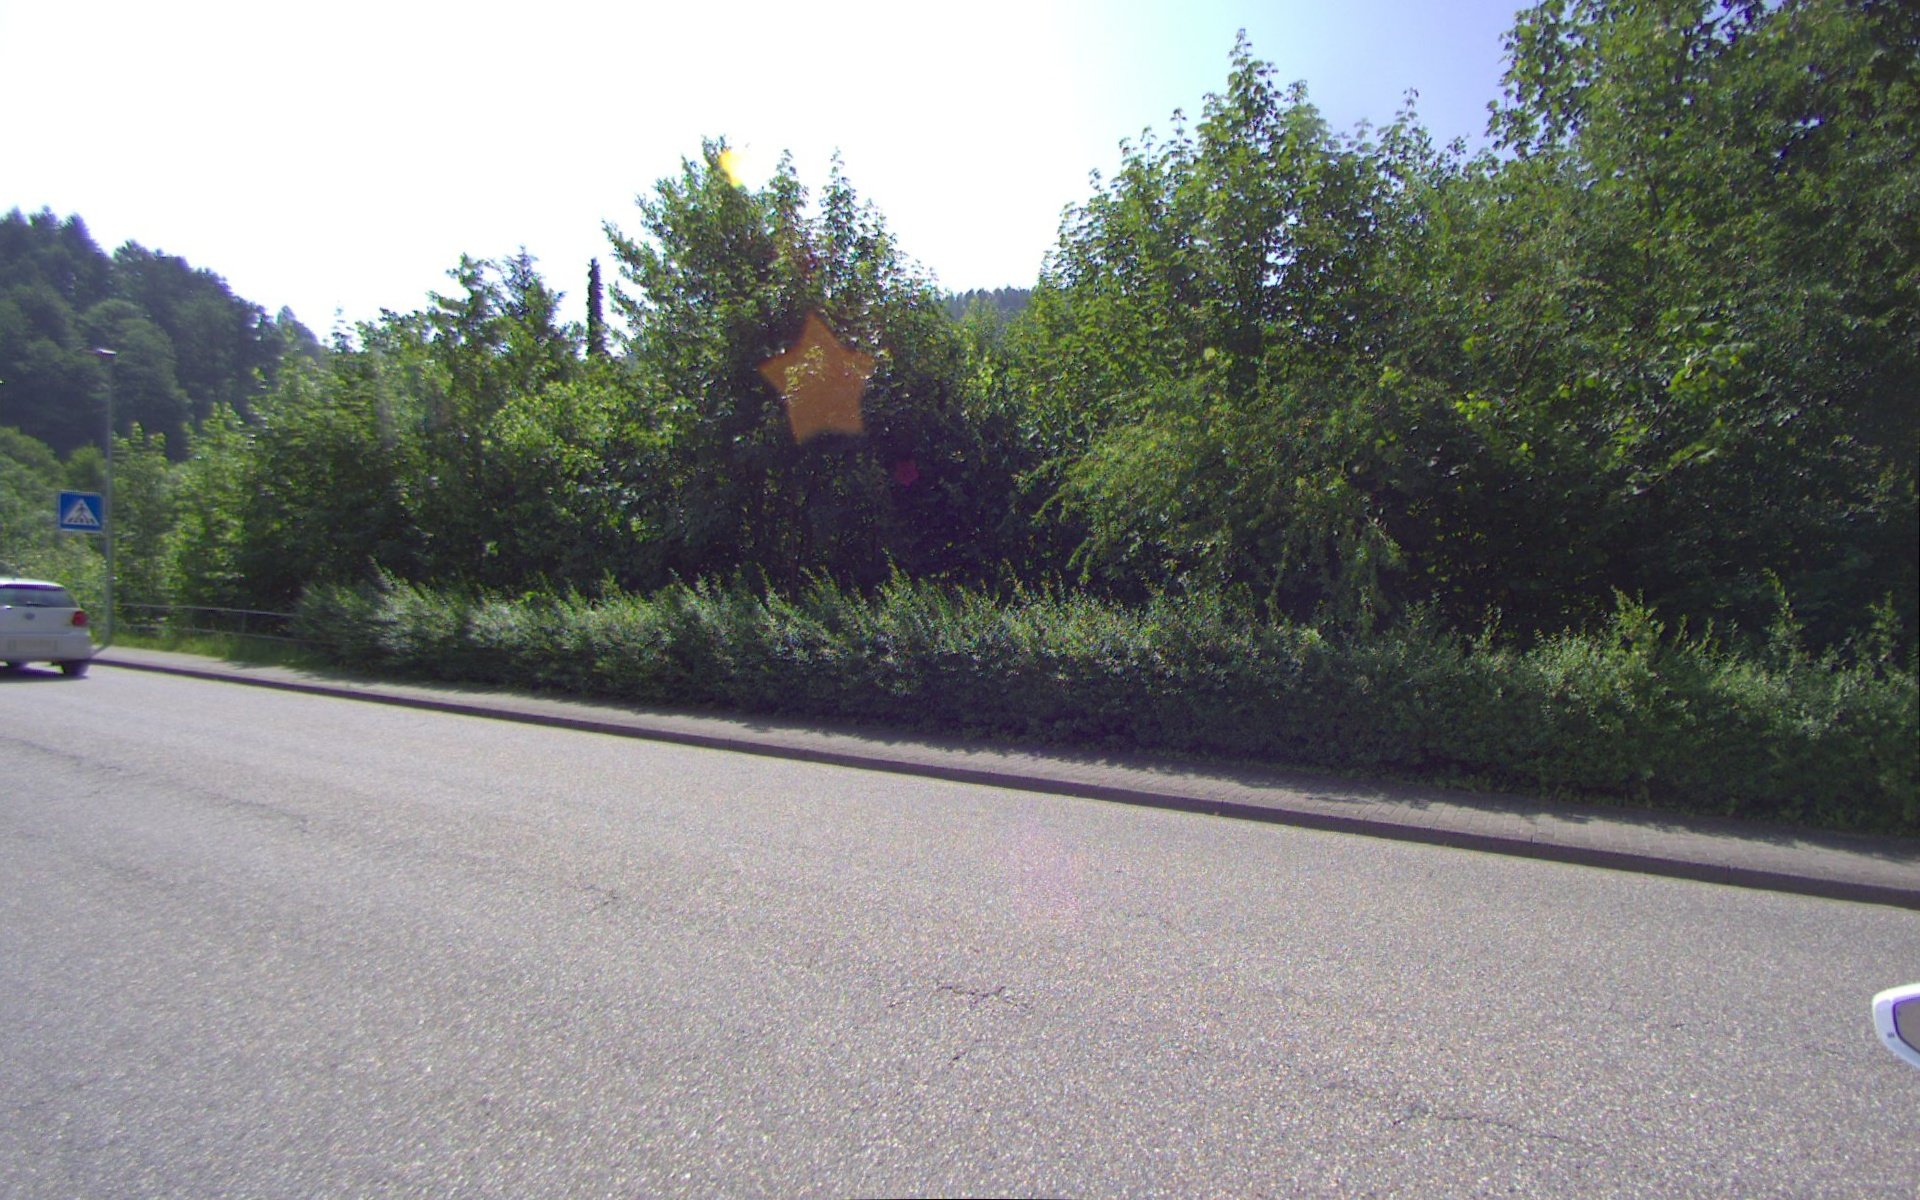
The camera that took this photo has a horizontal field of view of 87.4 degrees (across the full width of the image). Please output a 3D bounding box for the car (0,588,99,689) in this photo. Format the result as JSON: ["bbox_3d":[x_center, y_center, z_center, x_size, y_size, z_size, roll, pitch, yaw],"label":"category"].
[{"bbox_3d":[-15.097,0.521,15.486,3.760,1.424,1.607,2,-2,31],"label":"car"}]
